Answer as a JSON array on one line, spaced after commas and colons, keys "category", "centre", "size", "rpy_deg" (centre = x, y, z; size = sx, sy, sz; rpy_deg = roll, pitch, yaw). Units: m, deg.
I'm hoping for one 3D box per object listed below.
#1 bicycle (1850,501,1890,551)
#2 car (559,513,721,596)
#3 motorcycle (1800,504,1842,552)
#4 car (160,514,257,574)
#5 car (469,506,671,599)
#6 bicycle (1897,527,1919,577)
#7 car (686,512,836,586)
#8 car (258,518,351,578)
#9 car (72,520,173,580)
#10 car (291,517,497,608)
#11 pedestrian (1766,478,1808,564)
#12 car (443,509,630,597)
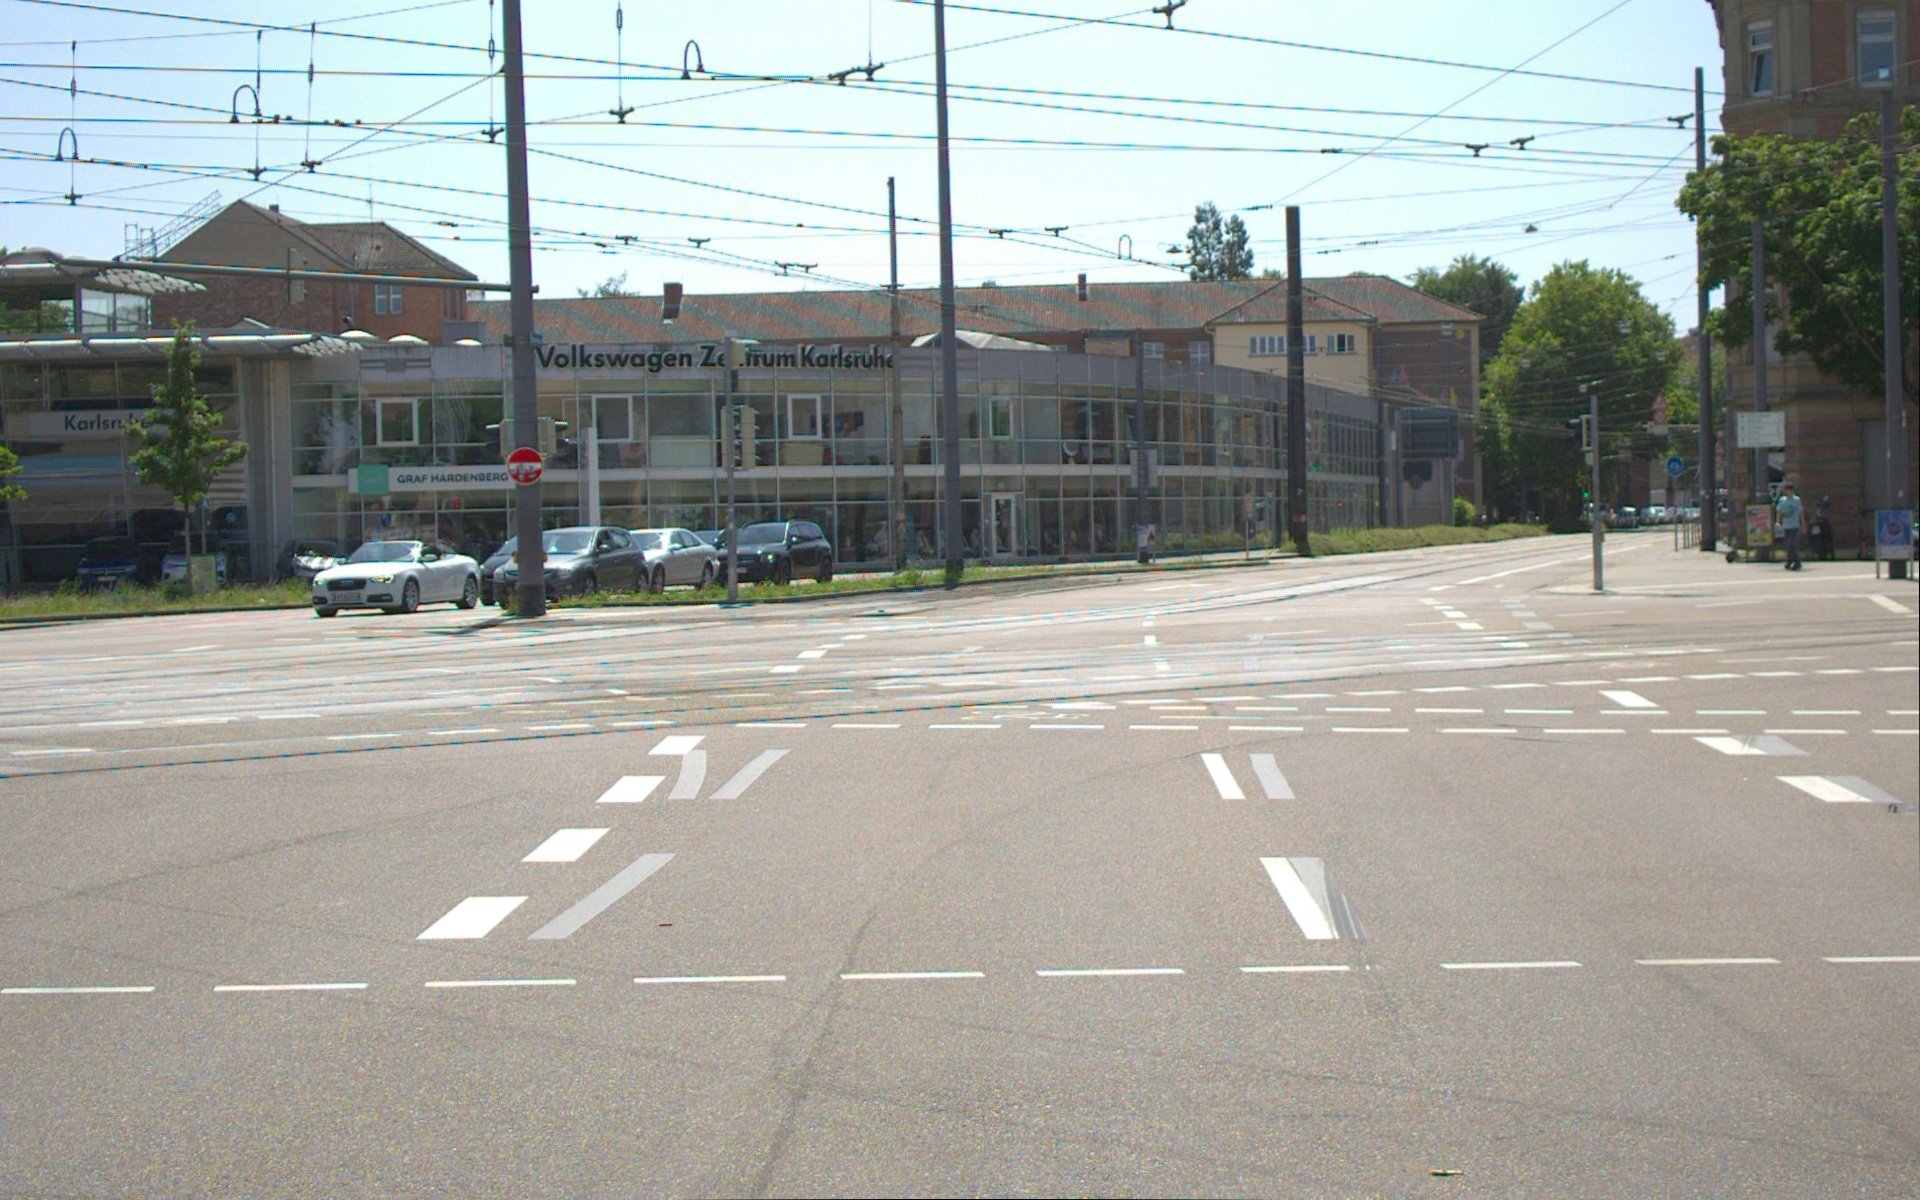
[{"category": "bicycle", "centre": [20.885, -1.701, 78.911], "size": [0.551, 1.116, 1.820], "rpy_deg": [-1, 1, 4]}, {"category": "car", "centre": [-7.049, -1.040, 76.261], "size": [1.995, 1.733, 4.540], "rpy_deg": [-1, 1, 17]}, {"category": "motorcycle", "centre": [19.805, -1.662, 79.084], "size": [0.580, 1.071, 1.946], "rpy_deg": [-1, 1, 3]}, {"category": "car", "centre": [-21.838, -1.609, 100.049], "size": [1.920, 1.701, 4.000], "rpy_deg": [1, 0, 0]}, {"category": "car", "centre": [-7.254, -0.917, 64.490], "size": [1.995, 1.631, 4.843], "rpy_deg": [-1, 1, 17]}, {"category": "bicycle", "centre": [22.009, -1.096, 79.287], "size": [0.442, 1.142, 2.093], "rpy_deg": [1, 0, 6]}, {"category": "car", "centre": [-4.767, -1.253, 83.075], "size": [2.080, 1.677, 4.843], "rpy_deg": [-1, 1, 17]}, {"category": "car", "centre": [-19.108, -1.508, 100.337], "size": [1.920, 1.701, 4.000], "rpy_deg": [1, 0, 0]}, {"category": "car", "centre": [-24.336, -1.447, 100.034], "size": [1.920, 1.701, 4.000], "rpy_deg": [1, 0, 0]}, {"category": "car", "centre": [-10.501, -0.735, 64.181], "size": [2.078, 1.574, 4.844], "rpy_deg": [-1, 1, 13]}, {"category": "pedestrian", "centre": [16.523, -1.570, 68.695], "size": [0.461, 1.702, 0.640], "rpy_deg": [-2, 1, -31]}, {"category": "car", "centre": [-8.605, -0.986, 70.318], "size": [1.995, 1.694, 4.843], "rpy_deg": [-1, 1, 17]}]
